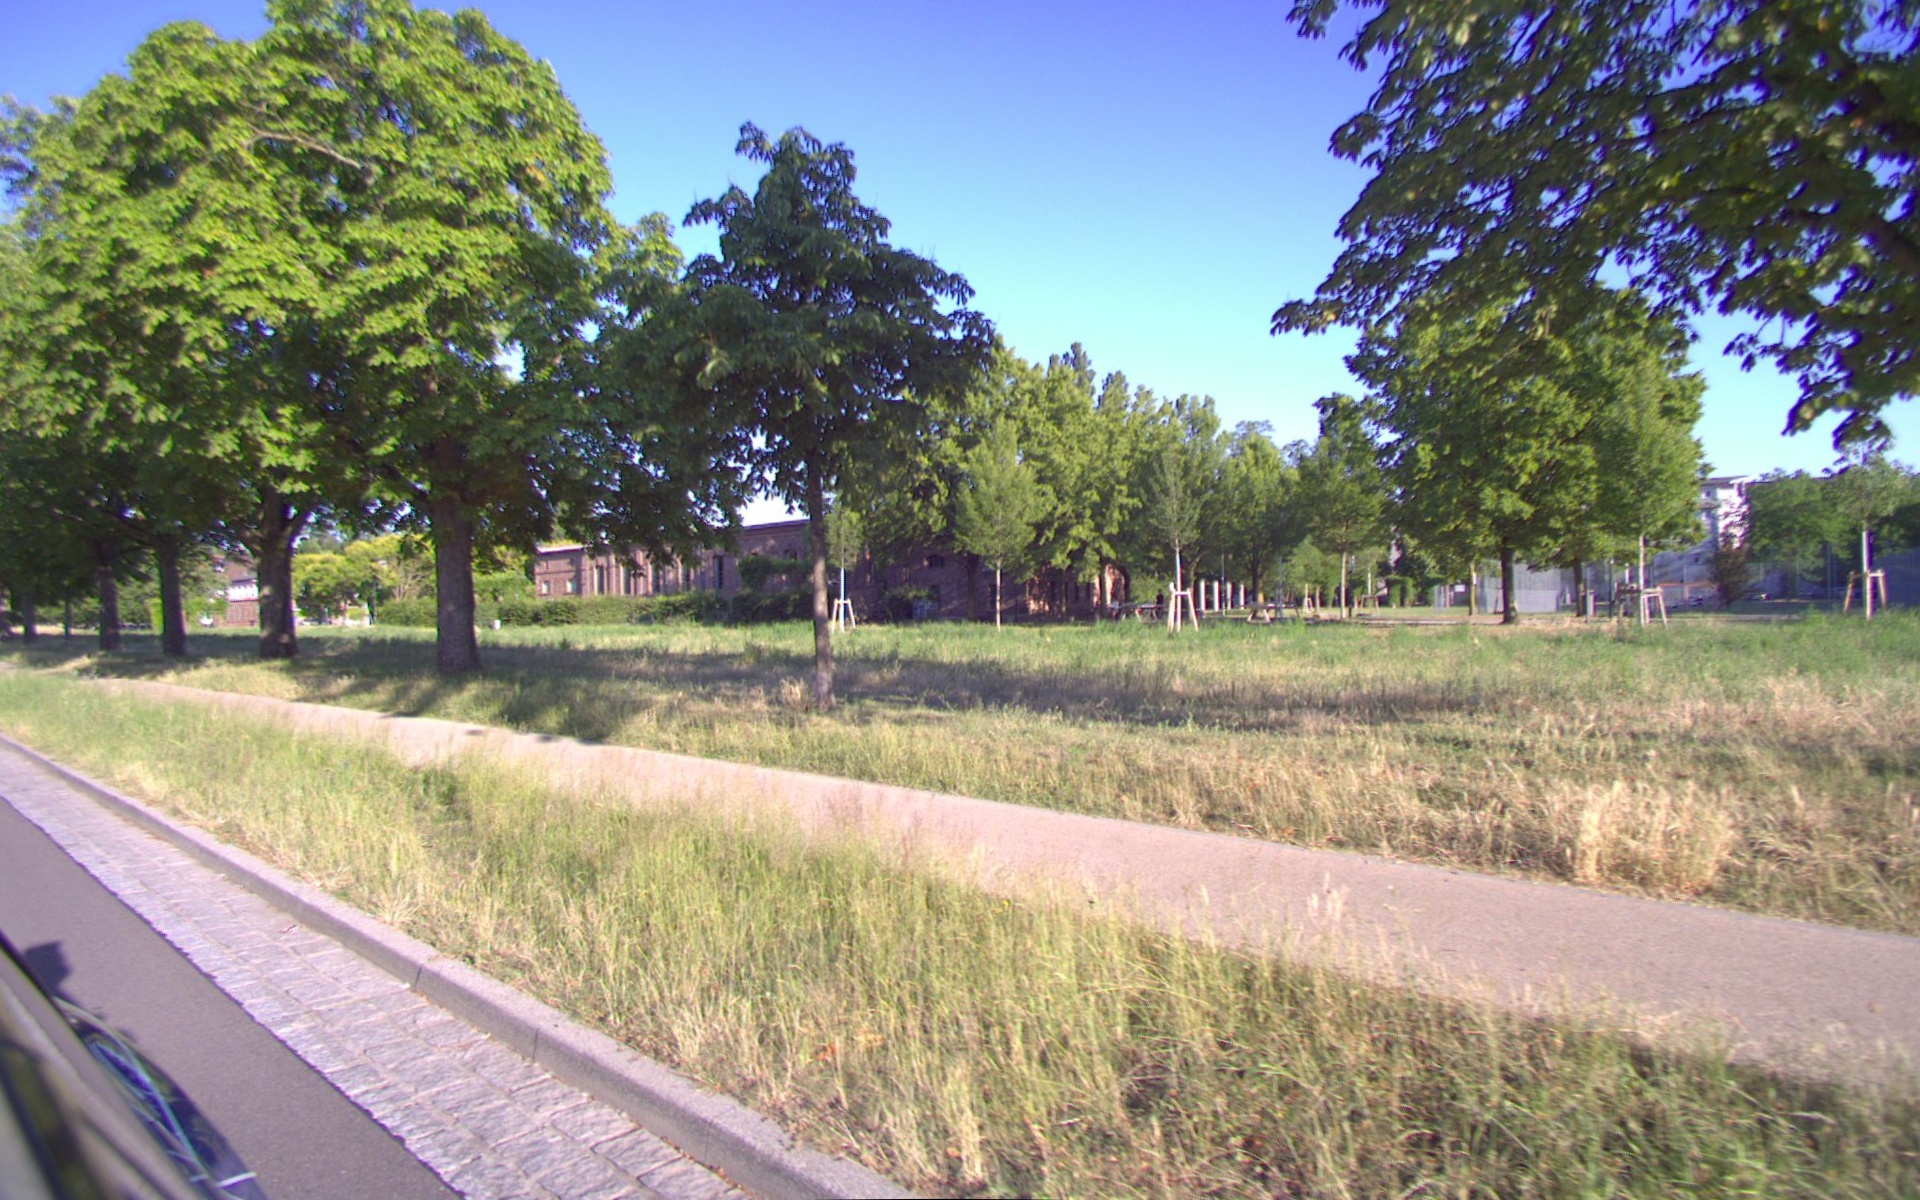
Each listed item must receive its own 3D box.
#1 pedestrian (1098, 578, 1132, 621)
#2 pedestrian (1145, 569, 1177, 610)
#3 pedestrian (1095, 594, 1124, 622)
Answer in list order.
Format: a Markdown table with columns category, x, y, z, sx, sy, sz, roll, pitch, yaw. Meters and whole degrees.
| category | x | y | z | sx | sy | sz | roll | pitch | yaw |
| --- | --- | --- | --- | --- | --- | --- | --- | --- | --- |
| pedestrian | 6.979 | -0.027 | 45.522 | 1.099 | 1.877 | 0.984 | -2 | 0 | -43 |
| pedestrian | 9.498 | -0.500 | 47.899 | 1.099 | 1.877 | 0.984 | -2 | 0 | -43 |
| pedestrian | 7.383 | 0.380 | 49.950 | 0.980 | 1.304 | 1.104 | -2 | 0 | 32 |
